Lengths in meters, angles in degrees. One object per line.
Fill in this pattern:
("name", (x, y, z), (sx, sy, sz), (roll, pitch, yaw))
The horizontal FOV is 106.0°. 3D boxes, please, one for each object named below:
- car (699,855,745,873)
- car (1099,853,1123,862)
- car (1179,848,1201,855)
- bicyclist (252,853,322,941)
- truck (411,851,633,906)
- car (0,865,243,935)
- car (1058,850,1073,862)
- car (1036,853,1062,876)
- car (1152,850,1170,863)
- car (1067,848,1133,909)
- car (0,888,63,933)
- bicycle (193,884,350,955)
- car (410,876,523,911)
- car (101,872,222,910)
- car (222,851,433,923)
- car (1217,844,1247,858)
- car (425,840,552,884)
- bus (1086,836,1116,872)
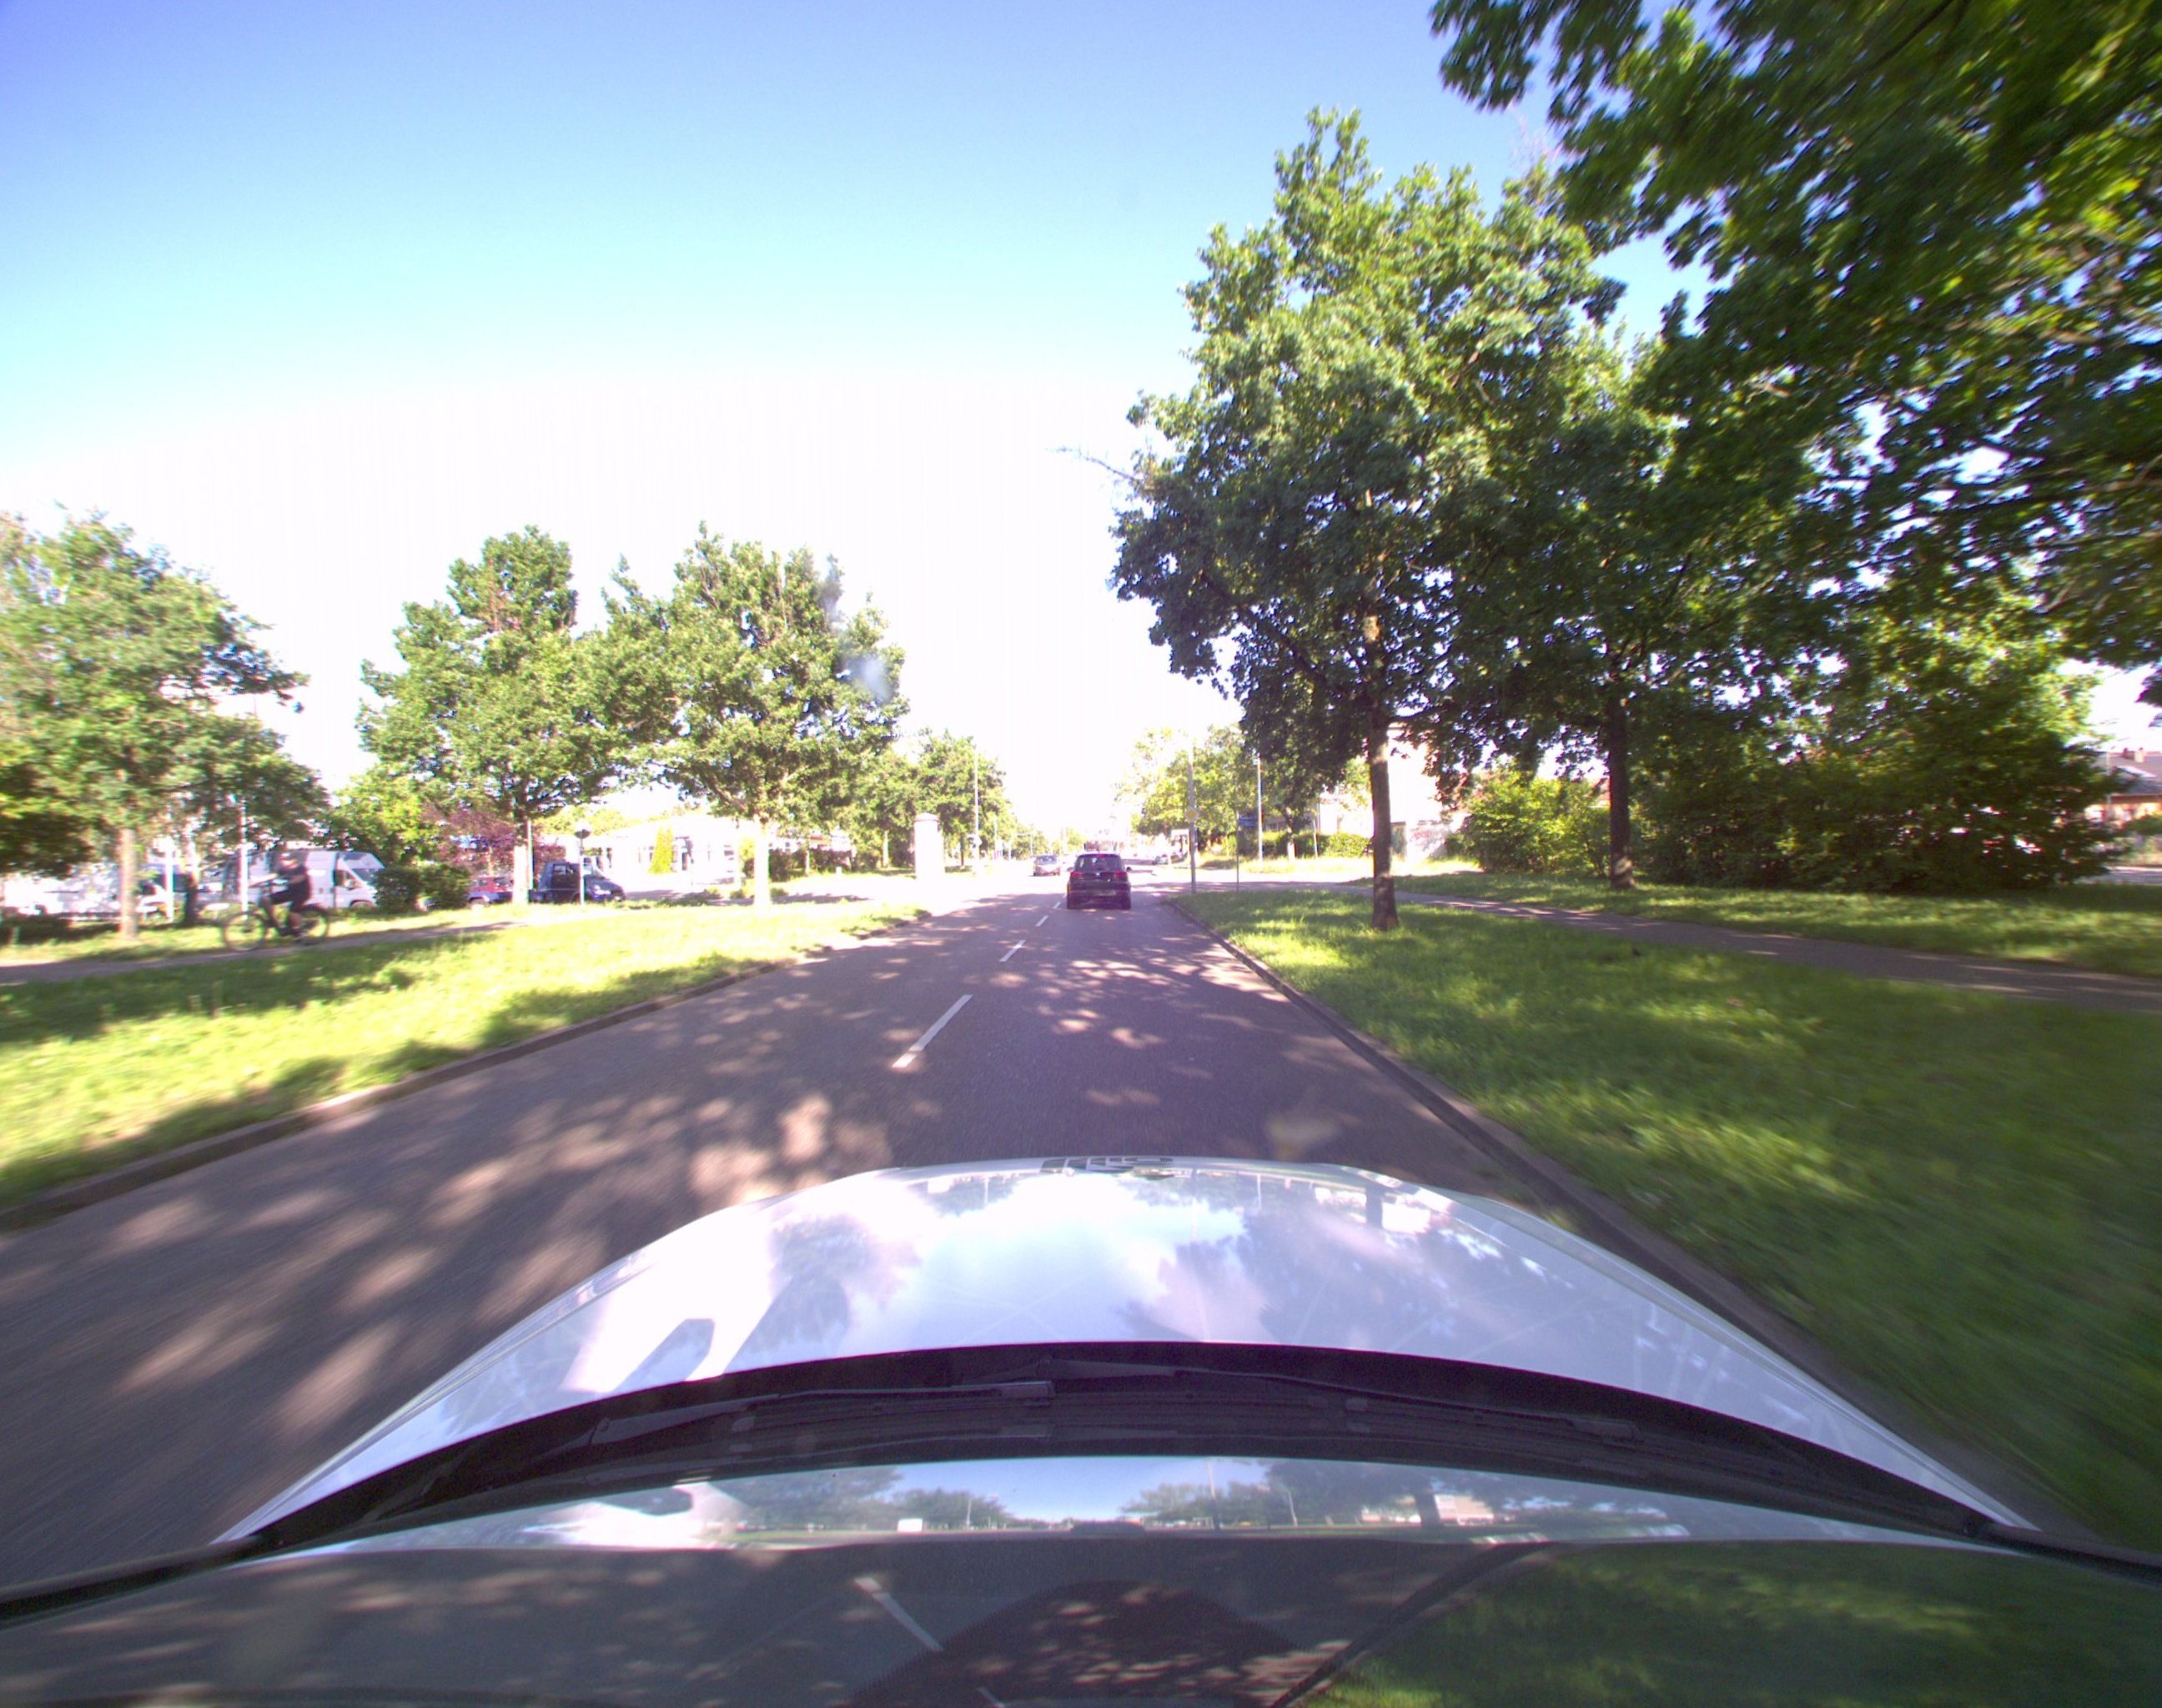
("car", (-33.229, 0.937, 75.426), (3.591, 1.498, 1.590), (-1, -1, -6))
("car", (4.601, 0.528, 125.196), (3.502, 1.302, 1.578), (-1, 0, 8))
("car", (20.565, -0.436, 153.319), (3.891, 1.340, 1.677), (0, -1, -9))
("bicyclist", (-15.146, 0.810, 15.552), (0.661, 1.629, 0.659), (0, -1, 1))
("truck", (-22.175, 0.945, 32.586), (7.102, 2.050, 2.136), (0, -1, -6))
("car", (-36.820, 1.706, 31.349), (6.327, 2.516, 2.297), (0, -1, -5))
("car", (-2.158, 0.336, 112.892), (1.752, 1.620, 4.024), (-2, -1, -6))
("car", (-2.370, 0.786, 60.390), (1.748, 1.595, 4.298), (0, -1, 0))
("car", (9.260, 0.313, 94.555), (1.587, 1.428, 4.204), (-3, 0, 1))
("car", (0.587, 0.707, 24.516), (1.814, 1.673, 4.004), (0, -1, 2))
("car", (-54.515, 2.768, 40.140), (5.334, 2.104, 2.297), (0, -1, -5))
("bicycle", (-15.108, 1.181, 15.320), (0.549, 1.162, 2.335), (0, -1, 2))
("car", (-31.263, 2.006, 41.510), (4.183, 1.481, 1.822), (-2, 1, -5))
("car", (-50.621, 2.034, 44.905), (4.231, 1.885, 1.882), (-2, 0, -5))
("car", (-29.467, 1.253, 32.038), (5.851, 2.703, 2.297), (0, -1, -5))
("car", (25.836, -0.501, 139.292), (4.693, 2.123, 1.939), (-2, 0, -5))
("car", (-37.257, 0.512, 51.364), (6.148, 2.703, 2.297), (0, -1, -5))
("bus", (1.849, -0.021, 80.659), (2.588, 3.334, 11.980), (0, 0, 0))
